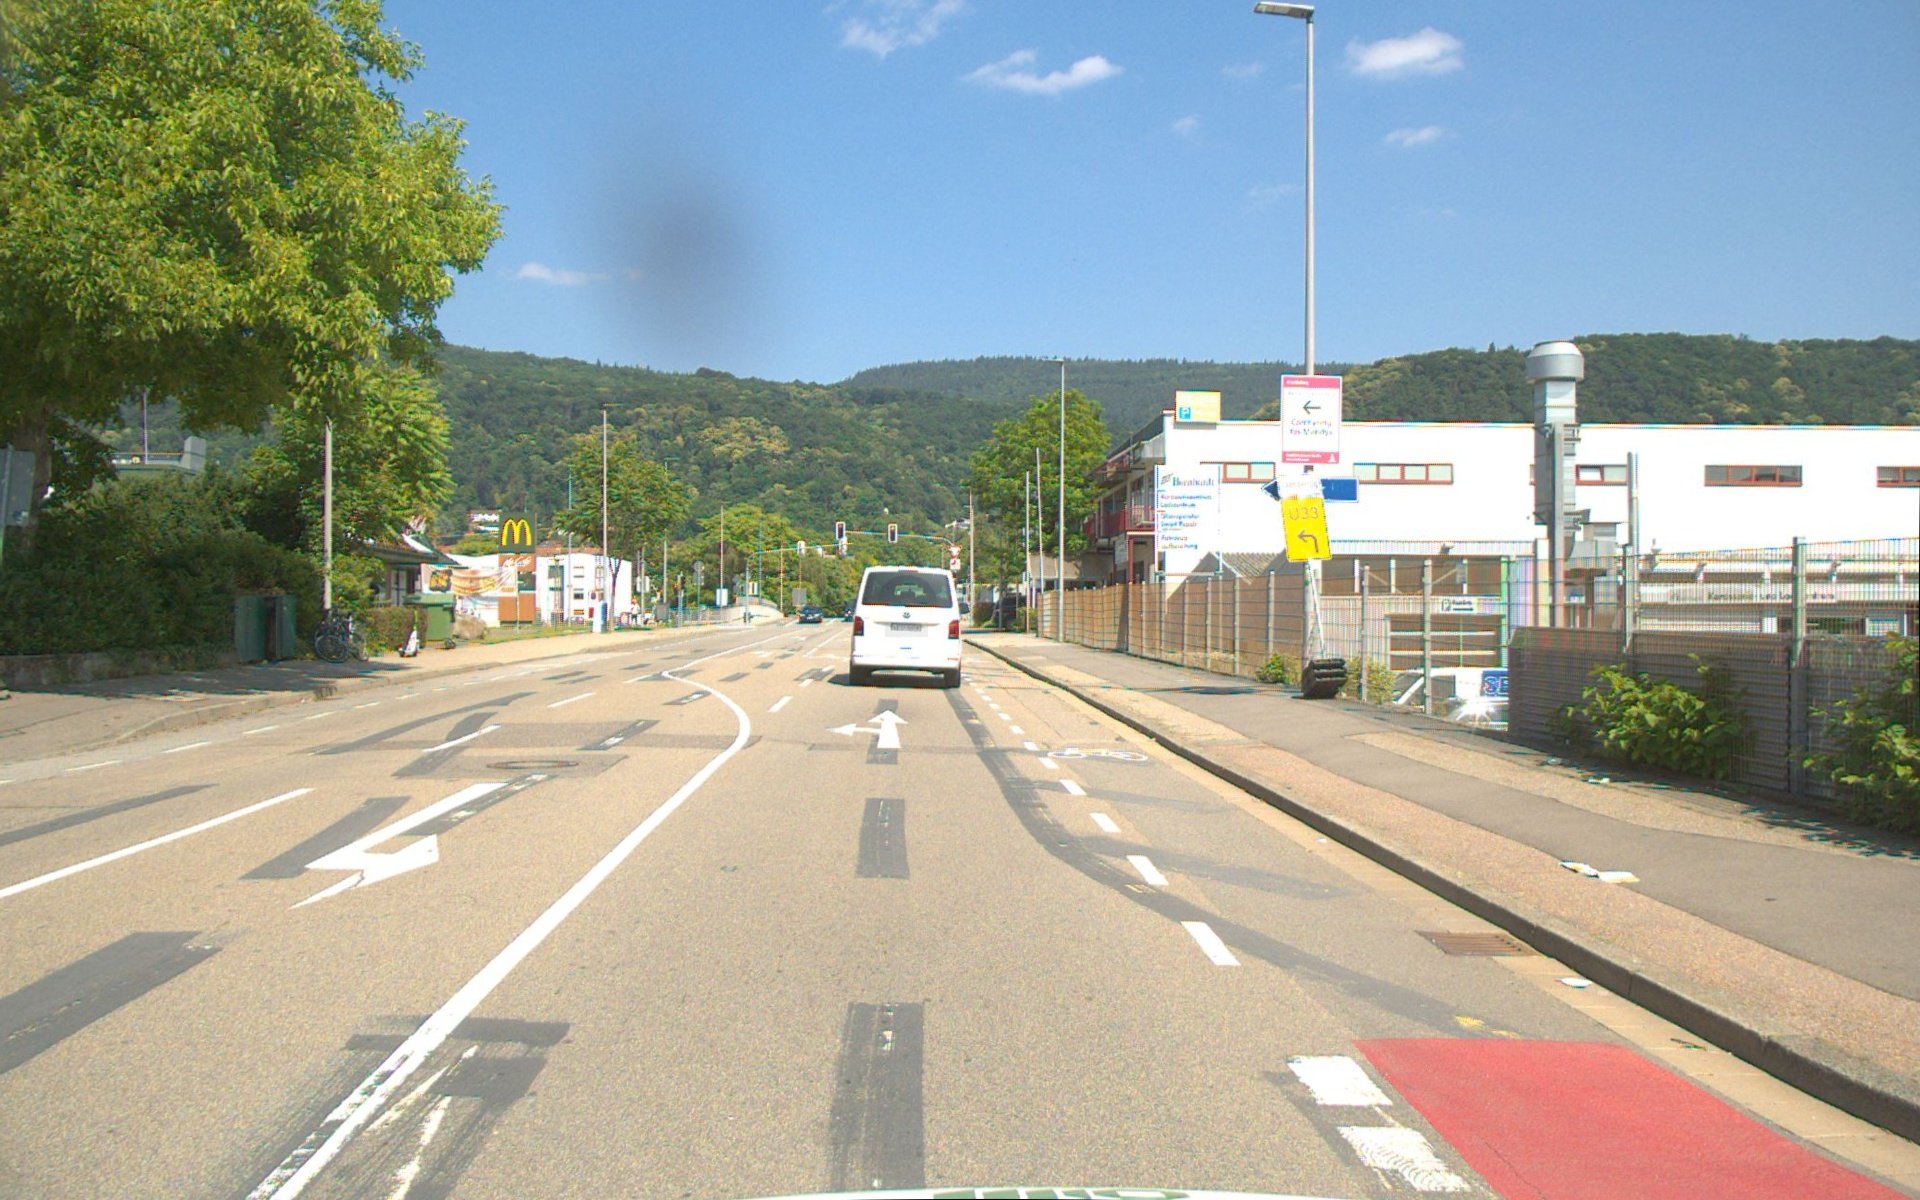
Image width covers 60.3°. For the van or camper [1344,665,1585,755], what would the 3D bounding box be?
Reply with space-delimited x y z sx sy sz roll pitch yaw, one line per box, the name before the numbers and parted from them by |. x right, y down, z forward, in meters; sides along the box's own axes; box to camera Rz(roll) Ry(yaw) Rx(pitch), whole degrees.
van or camper | 10.202 2.215 33.599 4.231 1.680 2.017 1 -1 -7

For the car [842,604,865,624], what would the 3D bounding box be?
car | -8.638 1.130 134.511 1.812 1.616 3.998 0 0 -2

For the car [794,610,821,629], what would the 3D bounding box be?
car | -11.989 1.533 130.324 1.954 1.394 4.324 0 0 -3

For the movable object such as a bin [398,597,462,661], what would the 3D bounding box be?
movable object such as a bin | -13.868 0.743 43.330 1.422 1.618 1.303 0 0 -11

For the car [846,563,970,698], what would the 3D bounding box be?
car | -0.995 0.503 29.040 1.896 2.095 4.540 3 0 -4

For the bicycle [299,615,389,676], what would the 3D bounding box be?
bicycle | -12.591 0.899 33.913 1.007 1.137 2.762 3 0 -5

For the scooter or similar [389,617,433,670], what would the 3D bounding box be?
scooter or similar | -12.517 0.982 37.715 0.635 1.147 1.619 3 -1 -9

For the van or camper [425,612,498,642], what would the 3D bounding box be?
van or camper | -29.027 1.578 96.259 3.930 1.601 1.987 2 -1 -21

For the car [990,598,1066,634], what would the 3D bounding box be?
car | 3.531 0.843 85.505 3.903 1.806 2.001 0 0 3
